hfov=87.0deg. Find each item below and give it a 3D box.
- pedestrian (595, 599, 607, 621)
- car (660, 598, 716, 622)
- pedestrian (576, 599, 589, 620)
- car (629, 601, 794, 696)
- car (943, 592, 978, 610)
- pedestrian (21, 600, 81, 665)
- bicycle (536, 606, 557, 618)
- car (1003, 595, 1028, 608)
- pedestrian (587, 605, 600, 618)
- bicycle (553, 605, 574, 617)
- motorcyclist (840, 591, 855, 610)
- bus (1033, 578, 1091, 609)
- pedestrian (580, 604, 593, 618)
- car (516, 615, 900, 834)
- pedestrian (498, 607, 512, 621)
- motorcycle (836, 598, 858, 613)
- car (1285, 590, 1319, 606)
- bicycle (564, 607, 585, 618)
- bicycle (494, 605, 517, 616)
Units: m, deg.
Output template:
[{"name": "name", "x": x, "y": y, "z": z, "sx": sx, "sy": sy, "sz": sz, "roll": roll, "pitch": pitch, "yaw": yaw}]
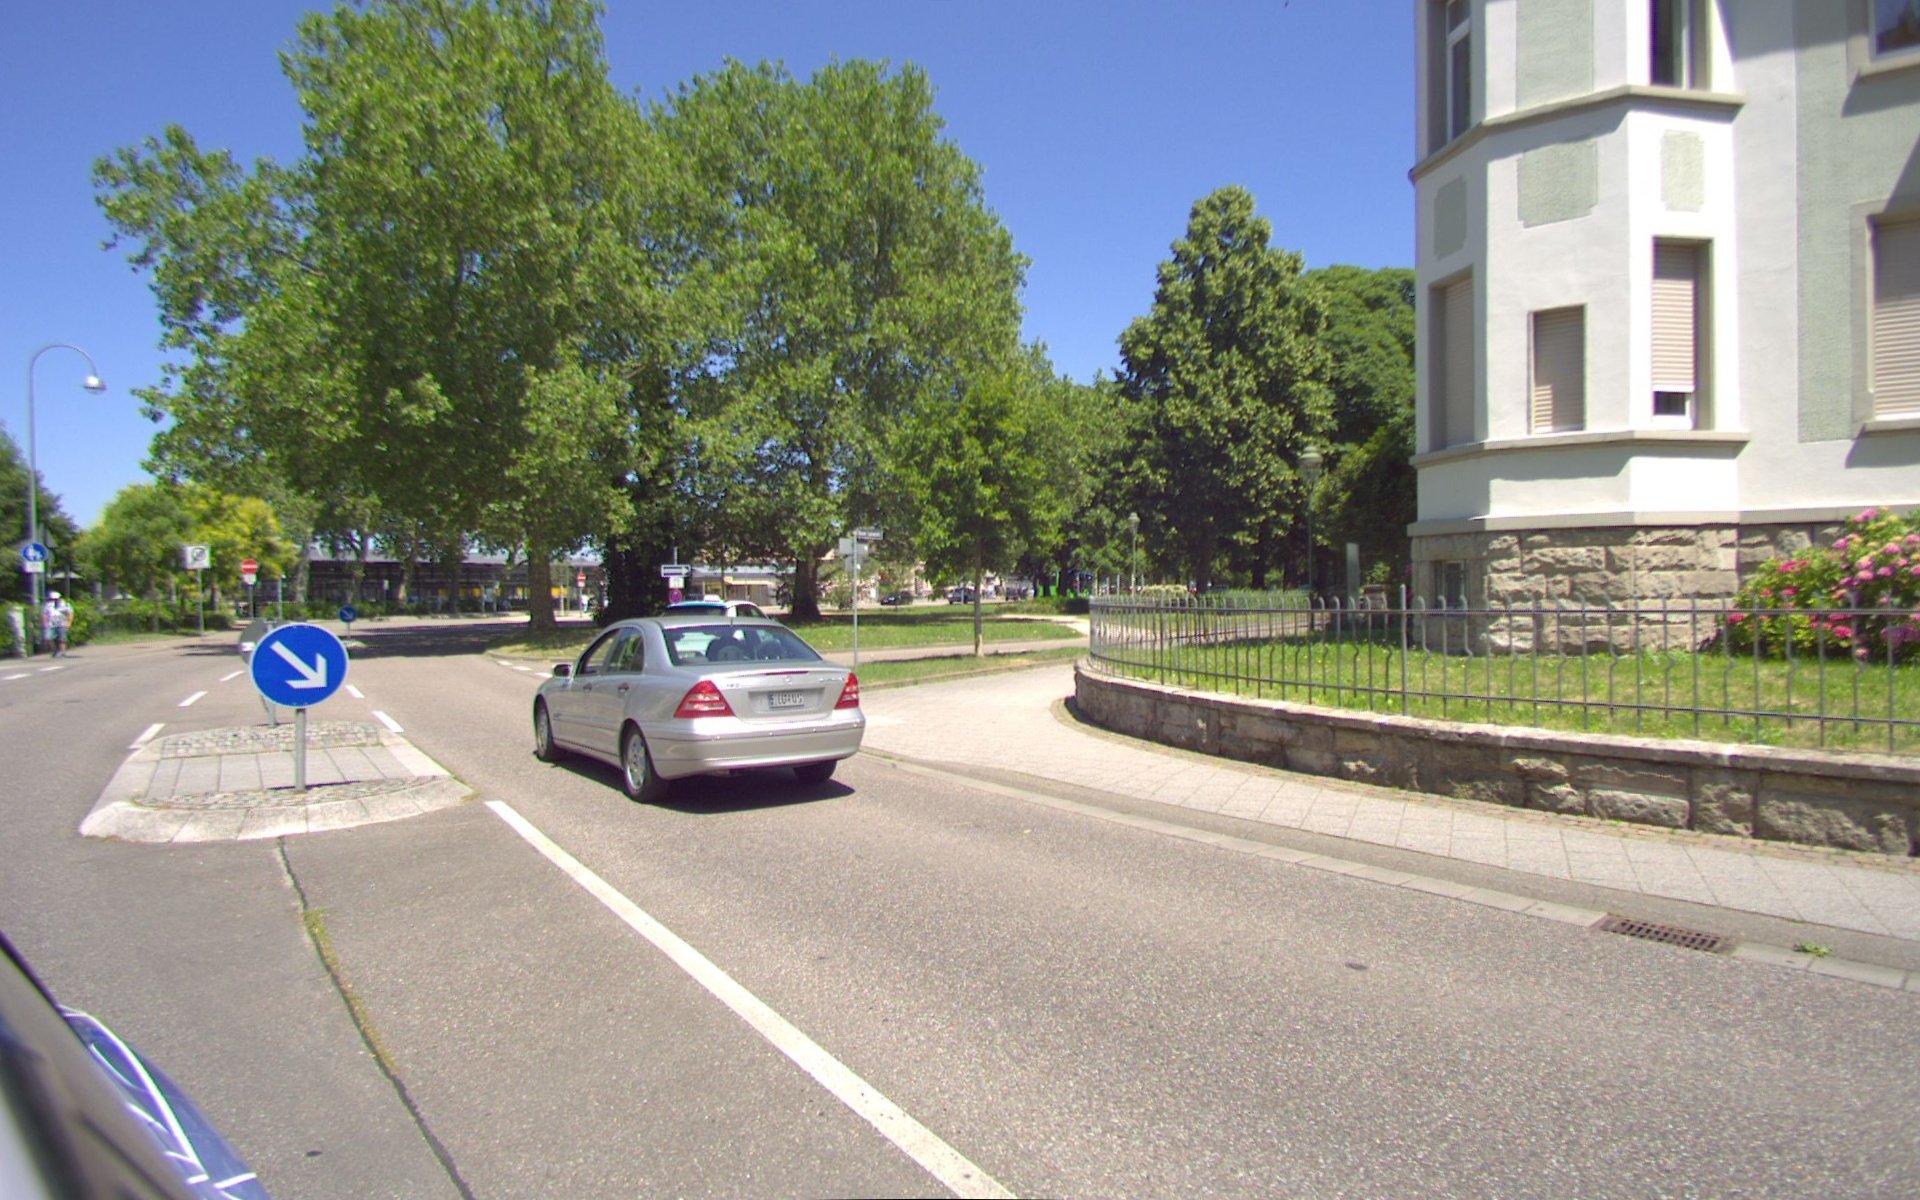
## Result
[{"name": "pedestrian", "x": -29.834, "y": 0.864, "z": 84.080, "sx": 0.899, "sy": 1.798, "sz": 0.697, "roll": -1, "pitch": 0, "yaw": -23}, {"name": "car", "x": -18.874, "y": 0.678, "z": 70.340, "sx": 1.765, "sy": 1.556, "sz": 4.157, "roll": 1, "pitch": 1, "yaw": 19}, {"name": "pedestrian", "x": -31.280, "y": 0.789, "z": 83.901, "sx": 0.900, "sy": 1.749, "sz": 0.677, "roll": -1, "pitch": 0, "yaw": -14}, {"name": "car", "x": -4.731, "y": 0.875, "z": 19.974, "sx": 1.855, "sy": 1.635, "sz": 4.297, "roll": -2, "pitch": -1, "yaw": 5}, {"name": "car", "x": 0.033, "y": 0.080, "z": 102.712, "sx": 2.036, "sy": 1.760, "sz": 4.289, "roll": 0, "pitch": 0, "yaw": 23}, {"name": "pedestrian", "x": -25.360, "y": 0.896, "z": 28.256, "sx": 0.900, "sy": 1.785, "sz": 0.918, "roll": 1, "pitch": -1, "yaw": -13}, {"name": "bicycle", "x": -44.535, "y": 1.263, "z": 108.980, "sx": 0.668, "sy": 1.081, "sz": 2.148, "roll": 1, "pitch": 4, "yaw": 30}, {"name": "car", "x": 6.372, "y": 0.212, "z": 115.337, "sx": 1.635, "sy": 1.428, "sz": 3.970, "roll": 0, "pitch": 0, "yaw": 22}, {"name": "pedestrian", "x": -37.691, "y": 1.221, "z": 104.145, "sx": 0.958, "sy": 1.315, "sz": 0.823, "roll": -1, "pitch": 0, "yaw": 28}, {"name": "bicycle", "x": -42.144, "y": 1.184, "z": 107.628, "sx": 0.668, "sy": 1.081, "sz": 2.148, "roll": 1, "pitch": 4, "yaw": 30}, {"name": "motorcyclist", "x": -9.231, "y": 0.043, "z": 83.123, "sx": 0.806, "sy": 1.567, "sz": 1.094, "roll": -1, "pitch": 0, "yaw": 27}, {"name": "bus", "x": 11.868, "y": -0.724, "z": 116.275, "sx": 2.801, "sy": 3.327, "sz": 11.753, "roll": -1, "pitch": 0, "yaw": 26}, {"name": "pedestrian", "x": -38.080, "y": 1.126, "z": 103.247, "sx": 0.958, "sy": 1.396, "sz": 0.823, "roll": -1, "pitch": 0, "yaw": 28}, {"name": "car", "x": -2.454, "y": 0.867, "z": 8.955, "sx": 1.735, "sy": 1.446, "sz": 4.313, "roll": 1, "pitch": -2, "yaw": -37}, {"name": "pedestrian", "x": -42.440, "y": 1.290, "z": 94.392, "sx": 0.826, "sy": 1.284, "sz": 0.861, "roll": -1, "pitch": 0, "yaw": 23}, {"name": "motorcycle", "x": -9.243, "y": 0.437, "z": 83.076, "sx": 0.806, "sy": 1.241, "sz": 2.032, "roll": -1, "pitch": 0, "yaw": 26}, {"name": "car", "x": 45.437, "y": -0.282, "z": 134.542, "sx": 3.980, "sy": 2.029, "sz": 1.982, "roll": -1, "pitch": 0, "yaw": 27}, {"name": "bicycle", "x": -39.991, "y": 1.313, "z": 104.999, "sx": 2.157, "sy": 1.081, "sz": 0.665, "roll": 1, "pitch": 4, "yaw": 25}, {"name": "bicycle", "x": -47.375, "y": 1.114, "z": 105.522, "sx": 2.149, "sy": 1.081, "sz": 0.667, "roll": 0, "pitch": 4, "yaw": 14}]
